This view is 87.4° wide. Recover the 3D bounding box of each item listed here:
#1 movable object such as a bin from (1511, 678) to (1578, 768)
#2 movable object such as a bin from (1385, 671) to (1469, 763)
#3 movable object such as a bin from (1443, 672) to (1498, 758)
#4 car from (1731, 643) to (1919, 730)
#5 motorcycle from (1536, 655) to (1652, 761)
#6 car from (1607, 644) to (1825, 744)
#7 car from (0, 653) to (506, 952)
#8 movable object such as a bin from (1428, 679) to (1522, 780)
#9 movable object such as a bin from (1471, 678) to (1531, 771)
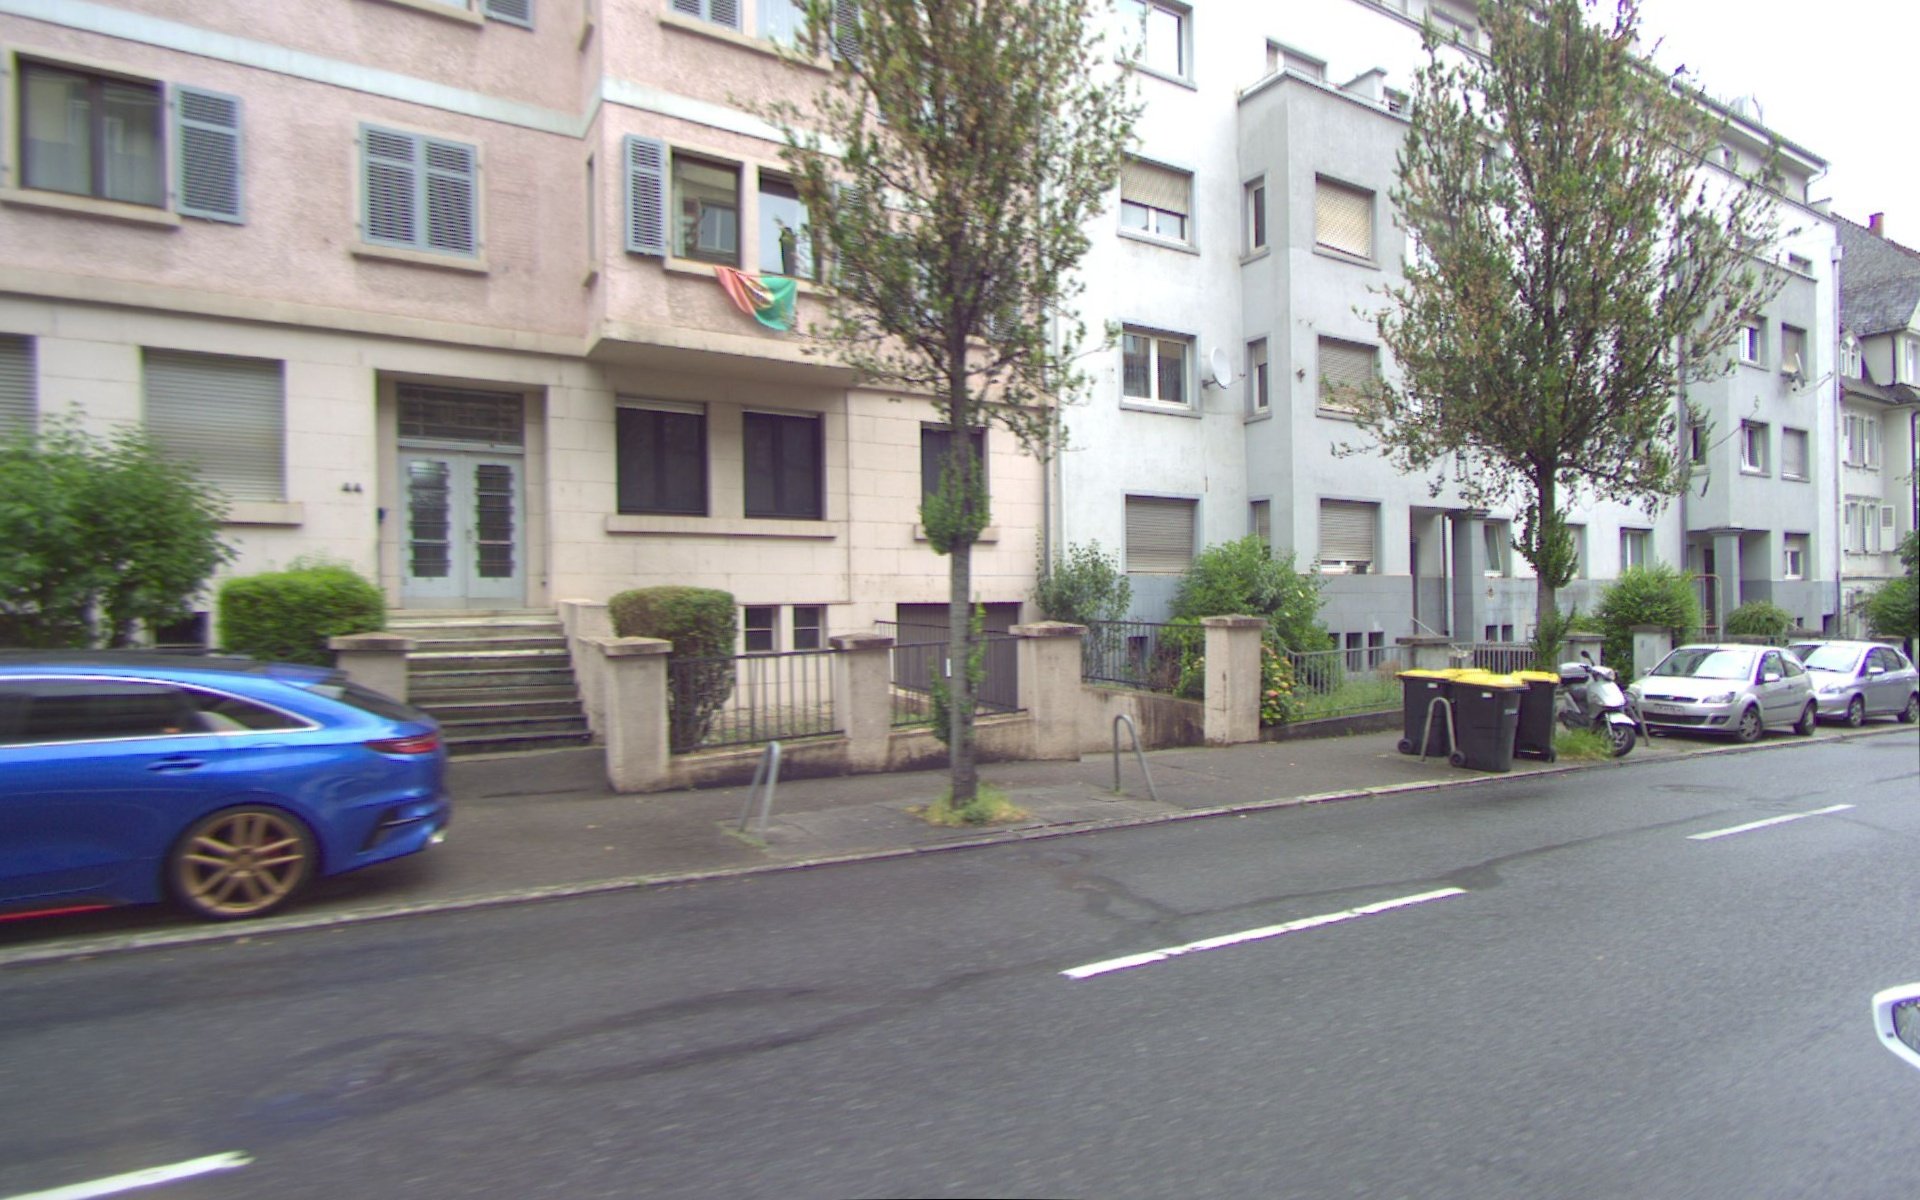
[{"bbox_3d":[7.429,1.549,12.772,0.478,1.072,0.521,2,1,-30],"label":"movable object such as a bin"},{"bbox_3d":[5.953,1.477,12.836,0.478,1.072,0.821,2,0,-30],"label":"movable object such as a bin"},{"bbox_3d":[6.825,1.526,13.433,0.479,1.072,0.467,2,1,-40],"label":"movable object such as a bin"},{"bbox_3d":[16.538,1.605,19.057,3.839,1.470,1.594,2,-2,-28],"label":"car"},{"bbox_3d":[8.780,1.457,13.998,0.727,1.332,1.813,0,-2,10],"label":"motorcycle"},{"bbox_3d":[12.333,1.479,16.335,3.845,1.415,1.592,3,-2,-32],"label":"car"},{"bbox_3d":[-5.114,1.018,5.564,4.551,1.404,1.670,3,-2,-32],"label":"car"},{"bbox_3d":[6.057,1.503,11.835,0.478,1.072,0.821,2,1,-30],"label":"movable object such as a bin"},{"bbox_3d":[6.704,1.528,12.459,0.479,1.072,0.467,2,1,-40],"label":"movable object such as a bin"}]
